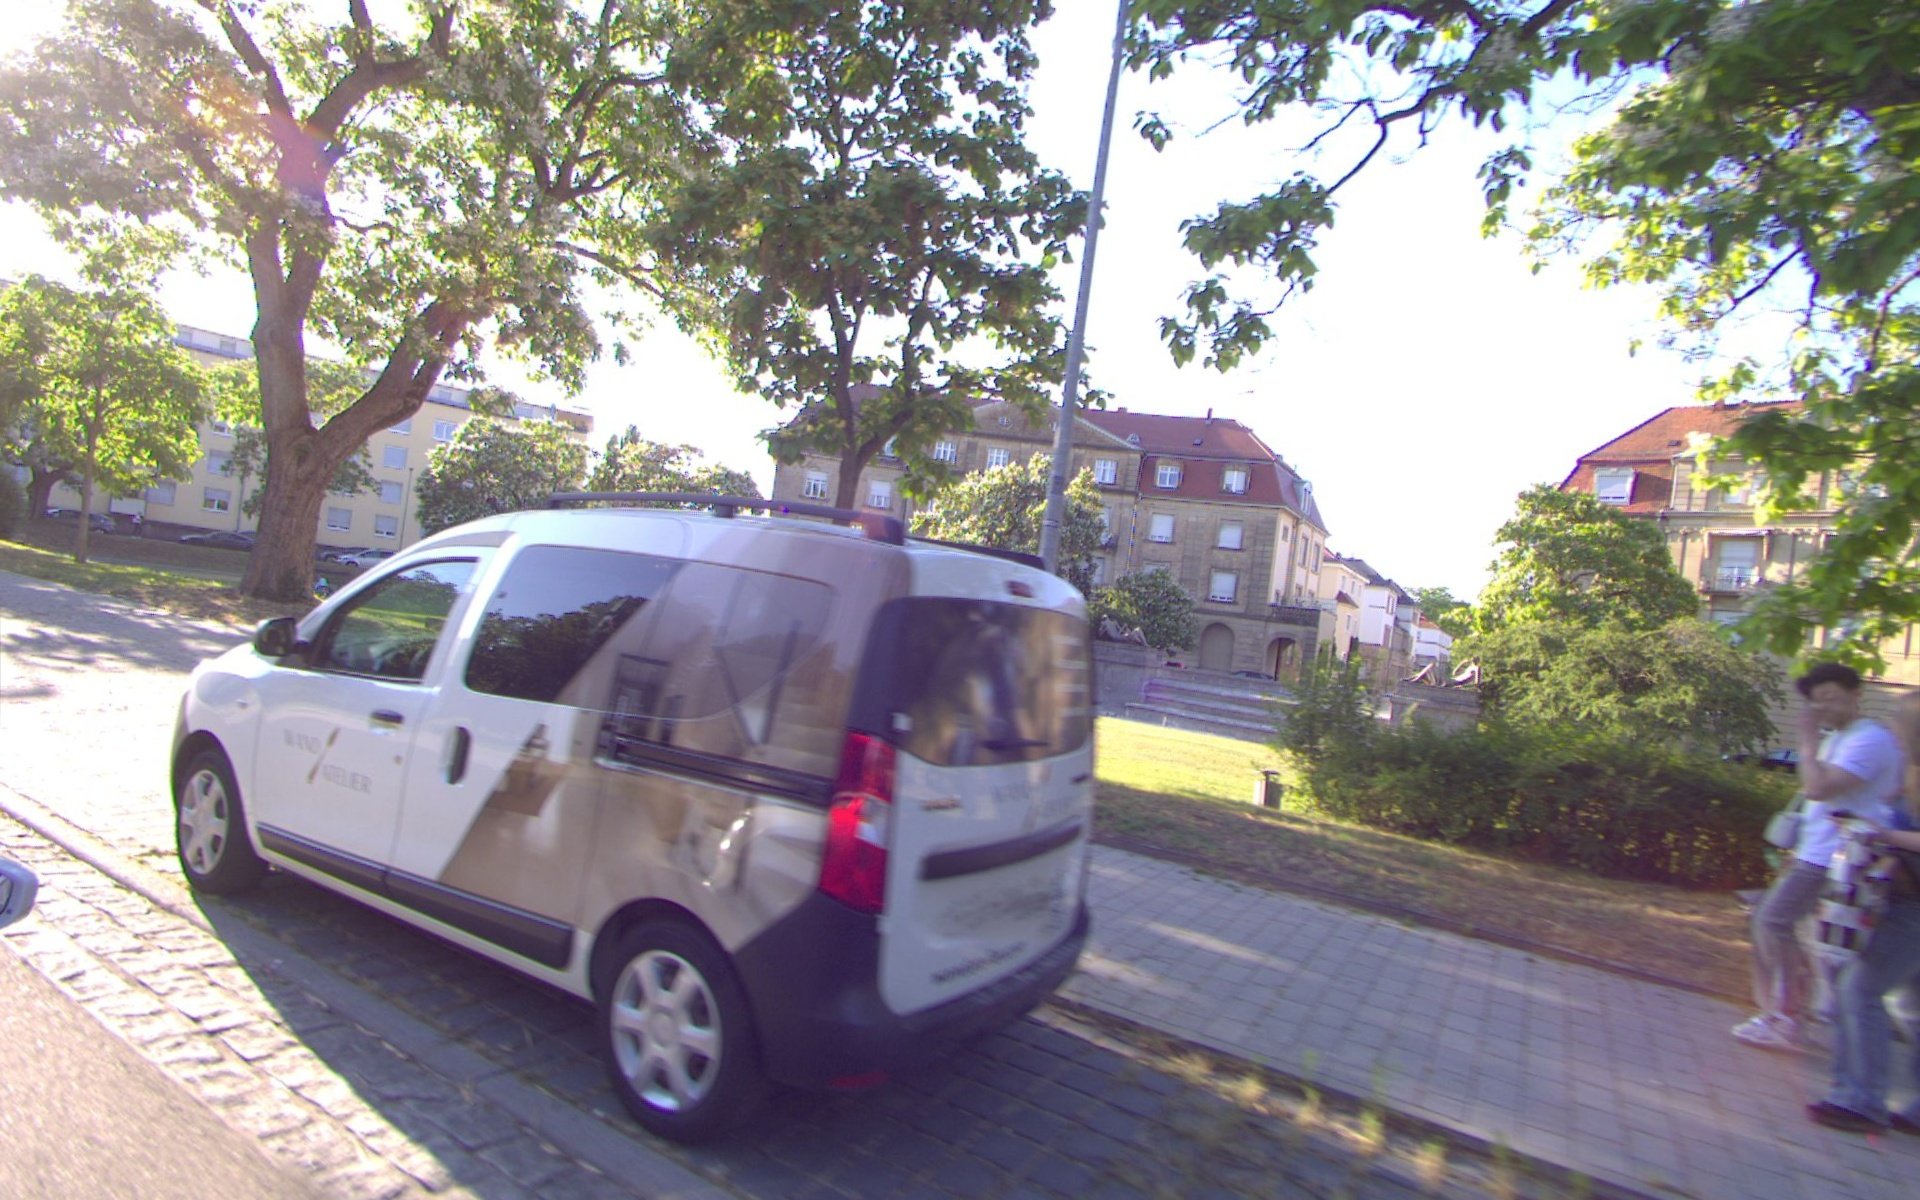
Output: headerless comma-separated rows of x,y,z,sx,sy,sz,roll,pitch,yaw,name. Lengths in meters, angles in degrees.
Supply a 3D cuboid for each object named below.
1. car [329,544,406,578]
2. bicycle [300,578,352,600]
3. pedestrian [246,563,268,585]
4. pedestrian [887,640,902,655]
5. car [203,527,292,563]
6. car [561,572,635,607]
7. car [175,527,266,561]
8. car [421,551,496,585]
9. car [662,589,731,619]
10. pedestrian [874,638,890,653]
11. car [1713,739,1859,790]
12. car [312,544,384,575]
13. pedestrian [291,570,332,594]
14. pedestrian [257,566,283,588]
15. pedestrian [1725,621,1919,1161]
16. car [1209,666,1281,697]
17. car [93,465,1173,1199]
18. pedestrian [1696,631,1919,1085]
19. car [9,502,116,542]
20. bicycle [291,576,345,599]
-37.195,-2.431,63.217,3.959,1.570,1.598,8,-2,-31,car
-26.744,-0.451,42.411,1.756,0.622,1.796,9,-2,-34,bicycle
-29.732,-1.093,42.539,0.602,0.822,0.473,7,-2,33,pedestrian
-3.937,2.855,60.584,0.655,0.803,0.587,7,-1,20,pedestrian
-45.910,-3.549,64.855,4.494,1.587,1.860,9,-2,-40,car
-24.685,-0.674,68.804,4.456,1.766,1.875,8,-1,-15,car
-43.410,-3.285,59.102,4.176,1.373,1.675,9,-2,-38,car
-35.335,-2.252,71.067,4.468,1.766,1.870,8,-1,-24,car
-18.477,0.301,70.690,4.292,1.470,1.879,8,-1,-6,car
-4.721,2.741,60.886,0.655,0.803,0.587,7,-1,20,pedestrian
38.703,7.696,47.271,1.802,1.434,4.906,8,-2,-33,car
-41.150,-2.728,67.734,3.958,1.470,1.866,8,-2,-30,car
-27.983,-0.762,43.421,1.240,0.822,0.573,9,-2,-13,pedestrian
-30.043,-1.013,43.826,0.712,0.822,0.612,7,-2,33,pedestrian
3.431,1.026,3.714,0.719,1.756,0.754,7,-1,32,pedestrian
18.529,5.300,65.510,4.029,1.434,1.816,6,-2,32,car
-1.607,0.535,4.230,4.439,1.760,1.681,6,-1,31,car
3.895,1.083,4.512,0.719,1.756,0.727,7,-1,32,pedestrian
-48.415,-4.190,54.347,4.184,1.480,1.672,9,-2,-43,car
-26.213,-0.505,41.078,1.756,0.622,1.796,9,-2,-34,bicycle
